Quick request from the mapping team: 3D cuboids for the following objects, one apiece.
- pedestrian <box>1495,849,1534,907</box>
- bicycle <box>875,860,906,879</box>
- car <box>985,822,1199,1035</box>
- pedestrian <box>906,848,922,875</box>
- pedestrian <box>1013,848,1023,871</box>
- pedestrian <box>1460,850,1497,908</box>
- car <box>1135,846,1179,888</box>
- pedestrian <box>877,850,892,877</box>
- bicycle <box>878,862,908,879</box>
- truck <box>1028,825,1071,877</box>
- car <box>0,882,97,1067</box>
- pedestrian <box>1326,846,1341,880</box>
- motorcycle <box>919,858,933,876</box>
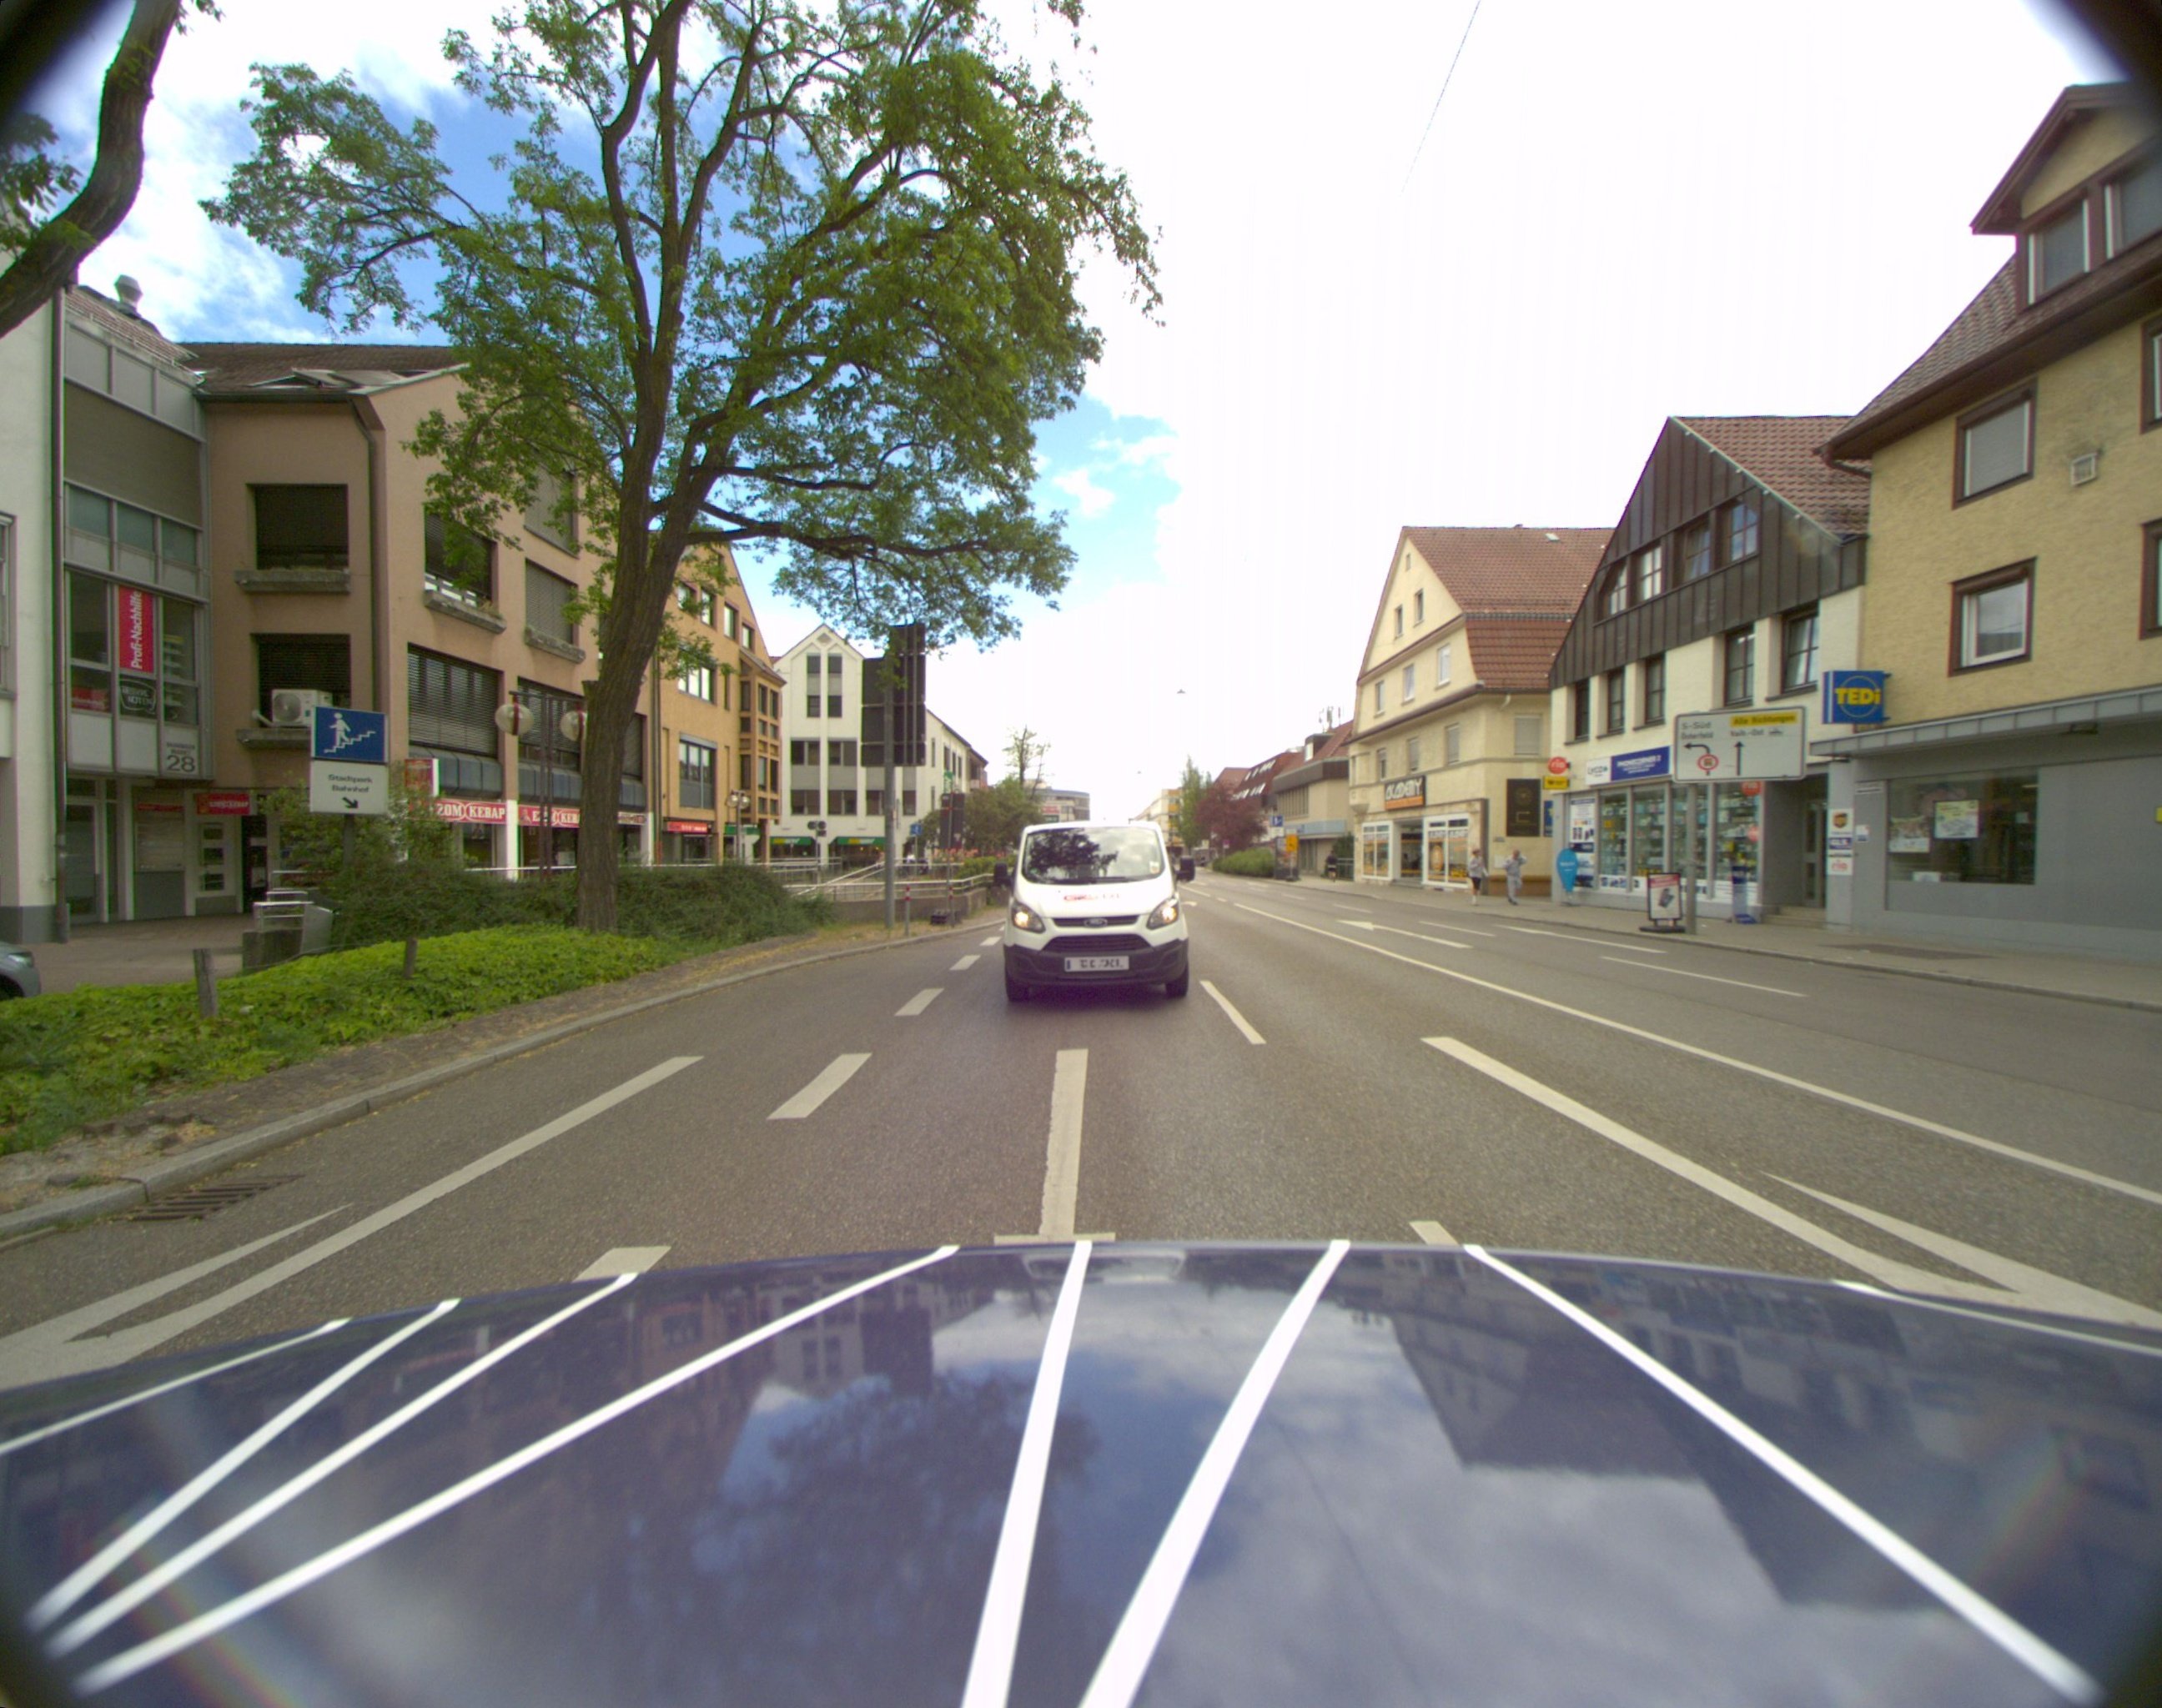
[{"bbox_3d":[12.749,0.699,22.348,0.689,1.660,0.709,-3,1,1],"label":"pedestrian"},{"bbox_3d":[-10.331,0.841,41.232,1.594,0.996,0.414,0,1,-13],"label":"bicycle"},{"bbox_3d":[0.126,0.686,9.687,1.964,1.948,5.164,-1,0,0],"label":"car"},{"bbox_3d":[-11.190,0.502,50.913,0.871,1.812,0.785,-2,1,-3],"label":"pedestrian"},{"bbox_3d":[-4.384,0.401,53.028,0.653,1.568,0.684,-1,1,1],"label":"pedestrian"},{"bbox_3d":[11.805,0.734,22.597,0.689,1.680,0.742,-1,1,1],"label":"pedestrian"},{"bbox_3d":[3.622,0.590,36.852,1.748,1.844,4.634,-2,0,1],"label":"car"},{"bbox_3d":[-12.799,0.598,49.422,0.887,1.747,0.943,0,1,-11],"label":"pedestrian"},{"bbox_3d":[-10.410,0.908,42.027,1.594,0.963,0.461,0,1,-14],"label":"bicycle"},{"bbox_3d":[-2.215,-0.281,56.226,2.446,3.464,8.347,-2,1,1],"label":"truck"},{"bbox_3d":[-10.343,1.069,4.851,1.999,1.586,4.762,0,0,-2],"label":"car"},{"bbox_3d":[14.008,0.484,42.146,0.551,1.878,0.592,-2,1,-3],"label":"pedestrian"},{"bbox_3d":[-9.685,0.796,47.557,0.464,1.062,1.995,0,0,1],"label":"motorcycle"}]
